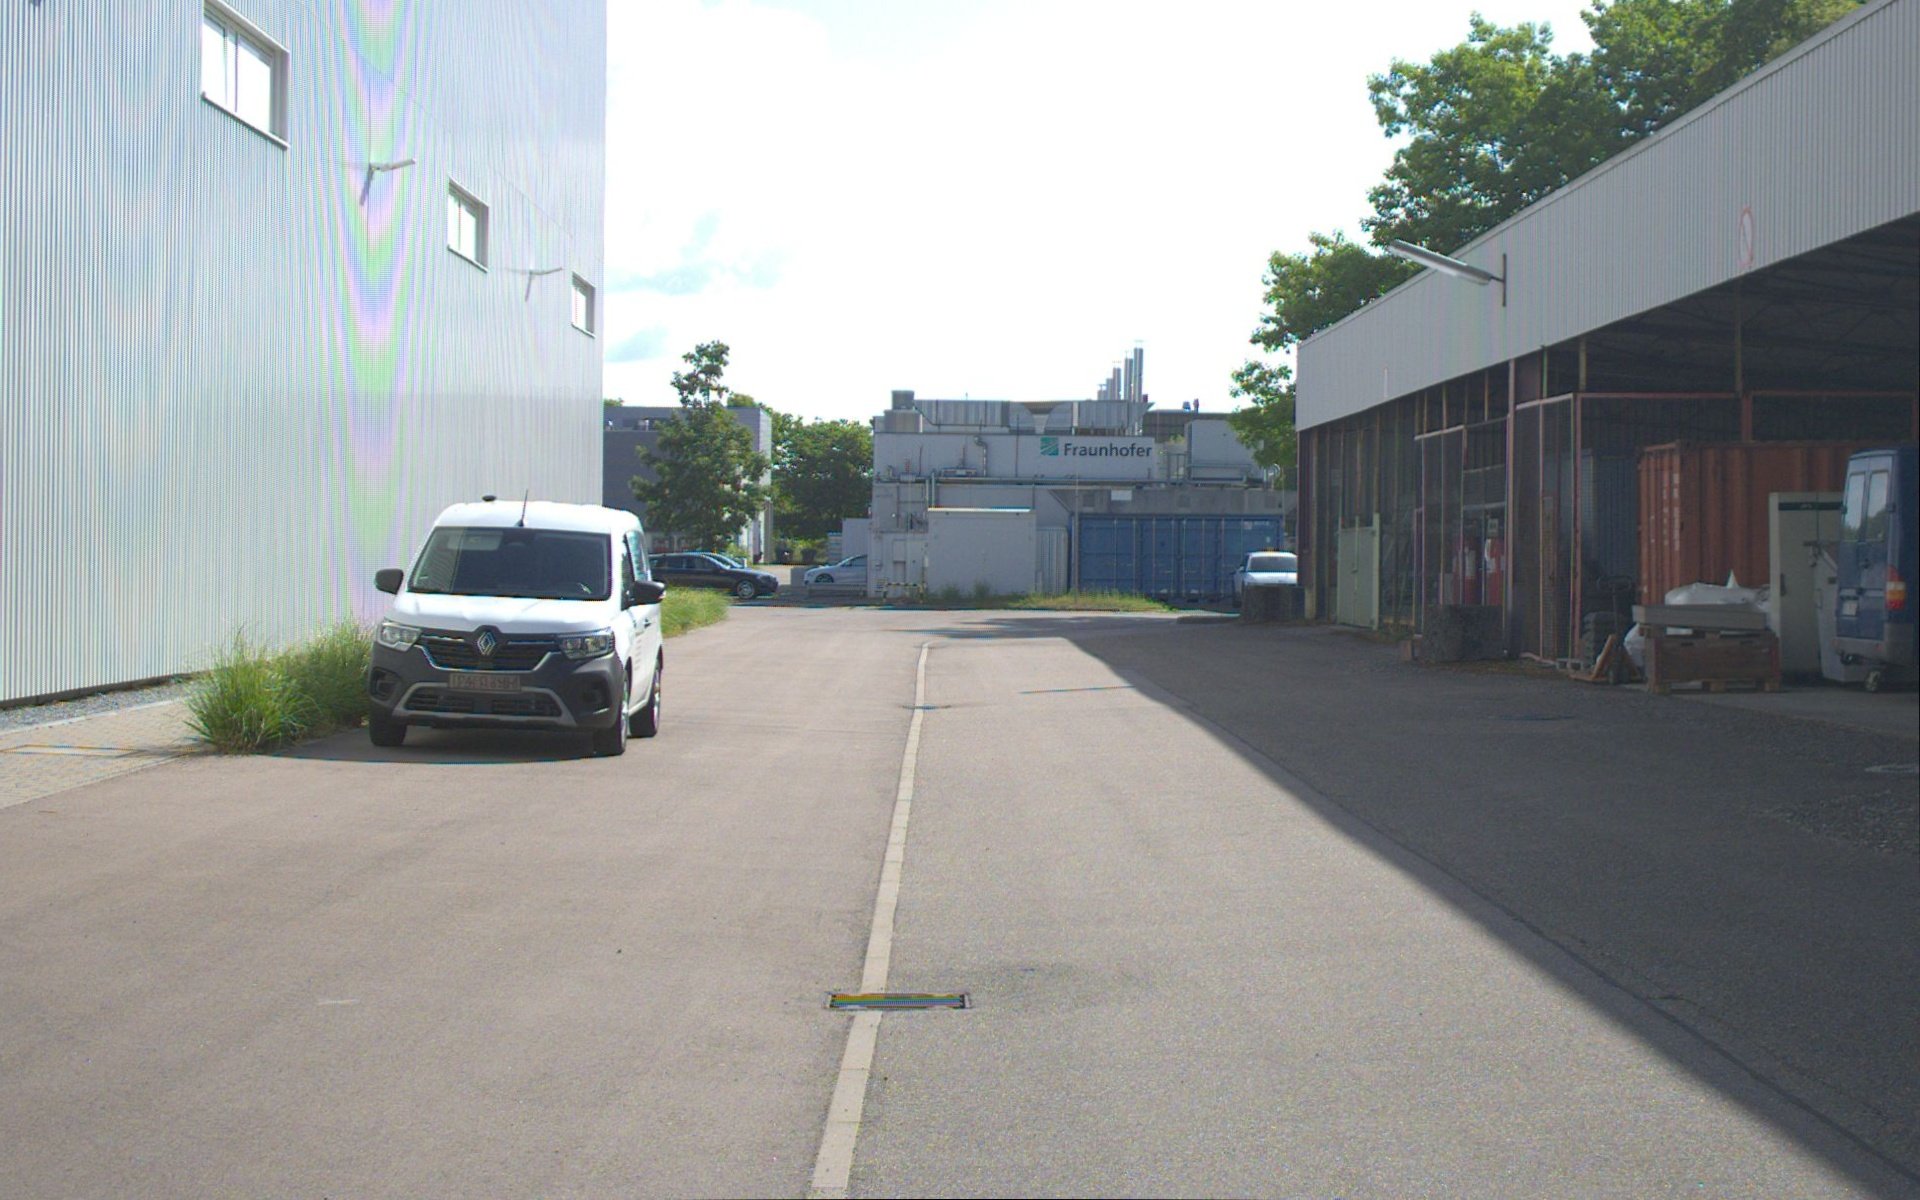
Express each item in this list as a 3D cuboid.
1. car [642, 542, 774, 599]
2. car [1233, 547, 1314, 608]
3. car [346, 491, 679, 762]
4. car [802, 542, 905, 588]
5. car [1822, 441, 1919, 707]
[{"bbox_3d":[-7.891,-0.930,107.799,3.987,1.592,1.742,2,-1,-1],"label":"car"},{"bbox_3d":[8.666,-0.643,95.316,1.962,1.559,4.059,2,1,2],"label":"car"},{"bbox_3d":[-3.223,0.134,25.564,1.818,1.781,4.405,2,1,0],"label":"car"},{"bbox_3d":[-4.184,-1.377,135.663,3.987,1.592,1.848,2,-1,-1],"label":"car"},{"bbox_3d":[10.214,-0.135,30.833,4.433,2.302,1.915,2,-1,1],"label":"car"}]
